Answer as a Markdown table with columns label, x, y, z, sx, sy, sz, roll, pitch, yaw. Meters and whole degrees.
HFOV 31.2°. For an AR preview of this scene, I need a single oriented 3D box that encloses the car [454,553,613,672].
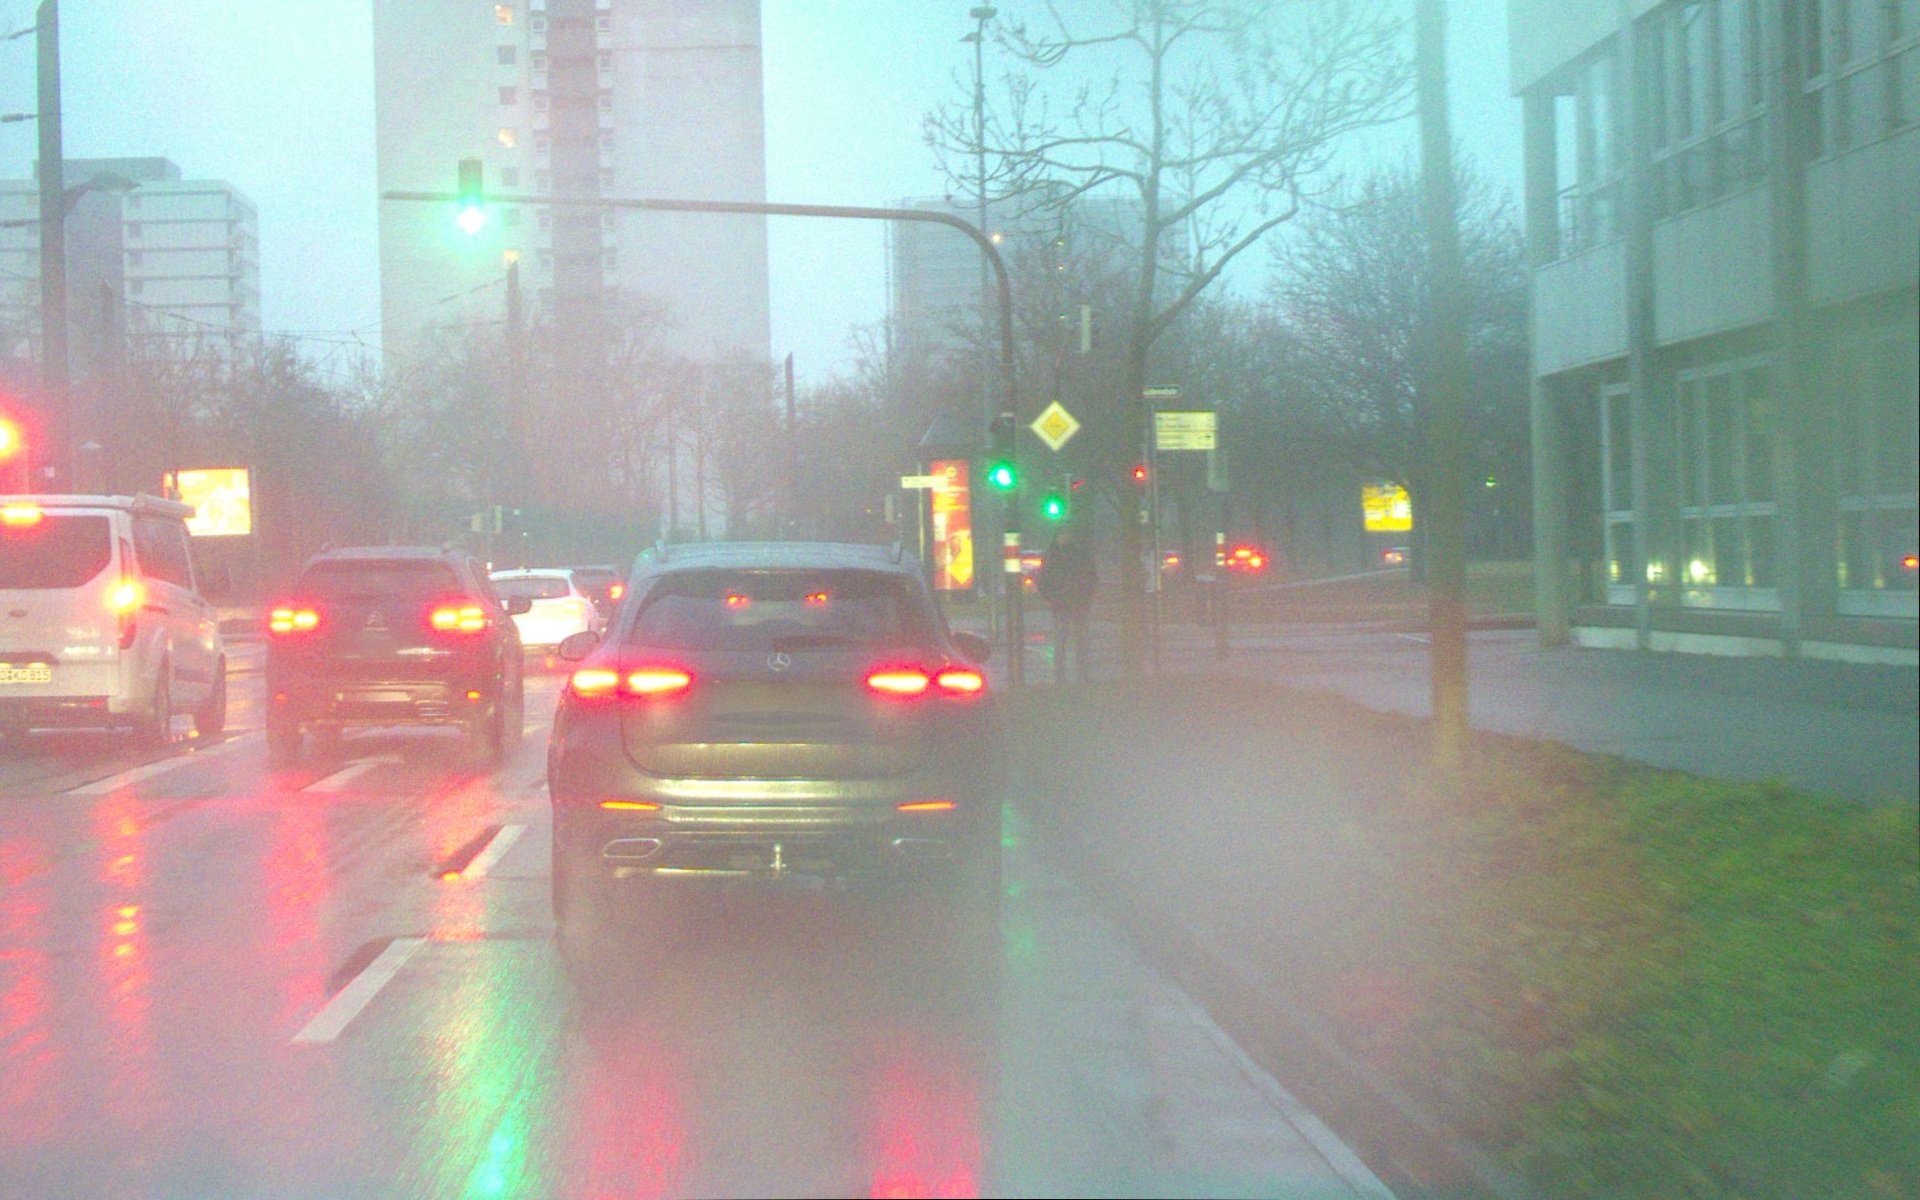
| label | x | y | z | sx | sy | sz | roll | pitch | yaw |
| --- | --- | --- | --- | --- | --- | --- | --- | --- | --- |
| car | -6.140 | 0.191 | 49.859 | 1.993 | 1.637 | 4.022 | 0 | -1 | -3 |

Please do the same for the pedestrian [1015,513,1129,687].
| label | x | y | z | sx | sy | sz | roll | pitch | yaw |
| --- | --- | --- | --- | --- | --- | --- | --- | --- | --- |
| pedestrian | 1.190 | -0.007 | 36.409 | 0.797 | 1.744 | 0.860 | -5 | 1 | 24 |

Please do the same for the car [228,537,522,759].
| label | x | y | z | sx | sy | sz | roll | pitch | yaw |
| --- | --- | --- | --- | --- | --- | --- | --- | --- | --- |
| car | -4.781 | 0.393 | 28.668 | 1.993 | 1.706 | 4.325 | 0 | -1 | -4 |

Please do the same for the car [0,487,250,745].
| label | x | y | z | sx | sy | sz | roll | pitch | yaw |
| --- | --- | --- | --- | --- | --- | --- | --- | --- | --- |
| car | -7.461 | 0.108 | 29.461 | 1.952 | 2.026 | 4.883 | 0 | 0 | -3 |

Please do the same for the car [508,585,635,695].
| label | x | y | z | sx | sy | sz | roll | pitch | yaw |
| --- | --- | --- | --- | --- | --- | --- | --- | --- | --- |
| car | -7.350 | 0.758 | 65.371 | 1.993 | 2.007 | 4.000 | 0 | -1 | -1 |

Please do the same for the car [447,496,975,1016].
| label | x | y | z | sx | sy | sz | roll | pitch | yaw |
| --- | --- | --- | --- | --- | --- | --- | --- | --- | --- |
| car | -1.046 | 0.613 | 15.111 | 1.993 | 1.969 | 4.068 | 0 | -1 | -3 |
